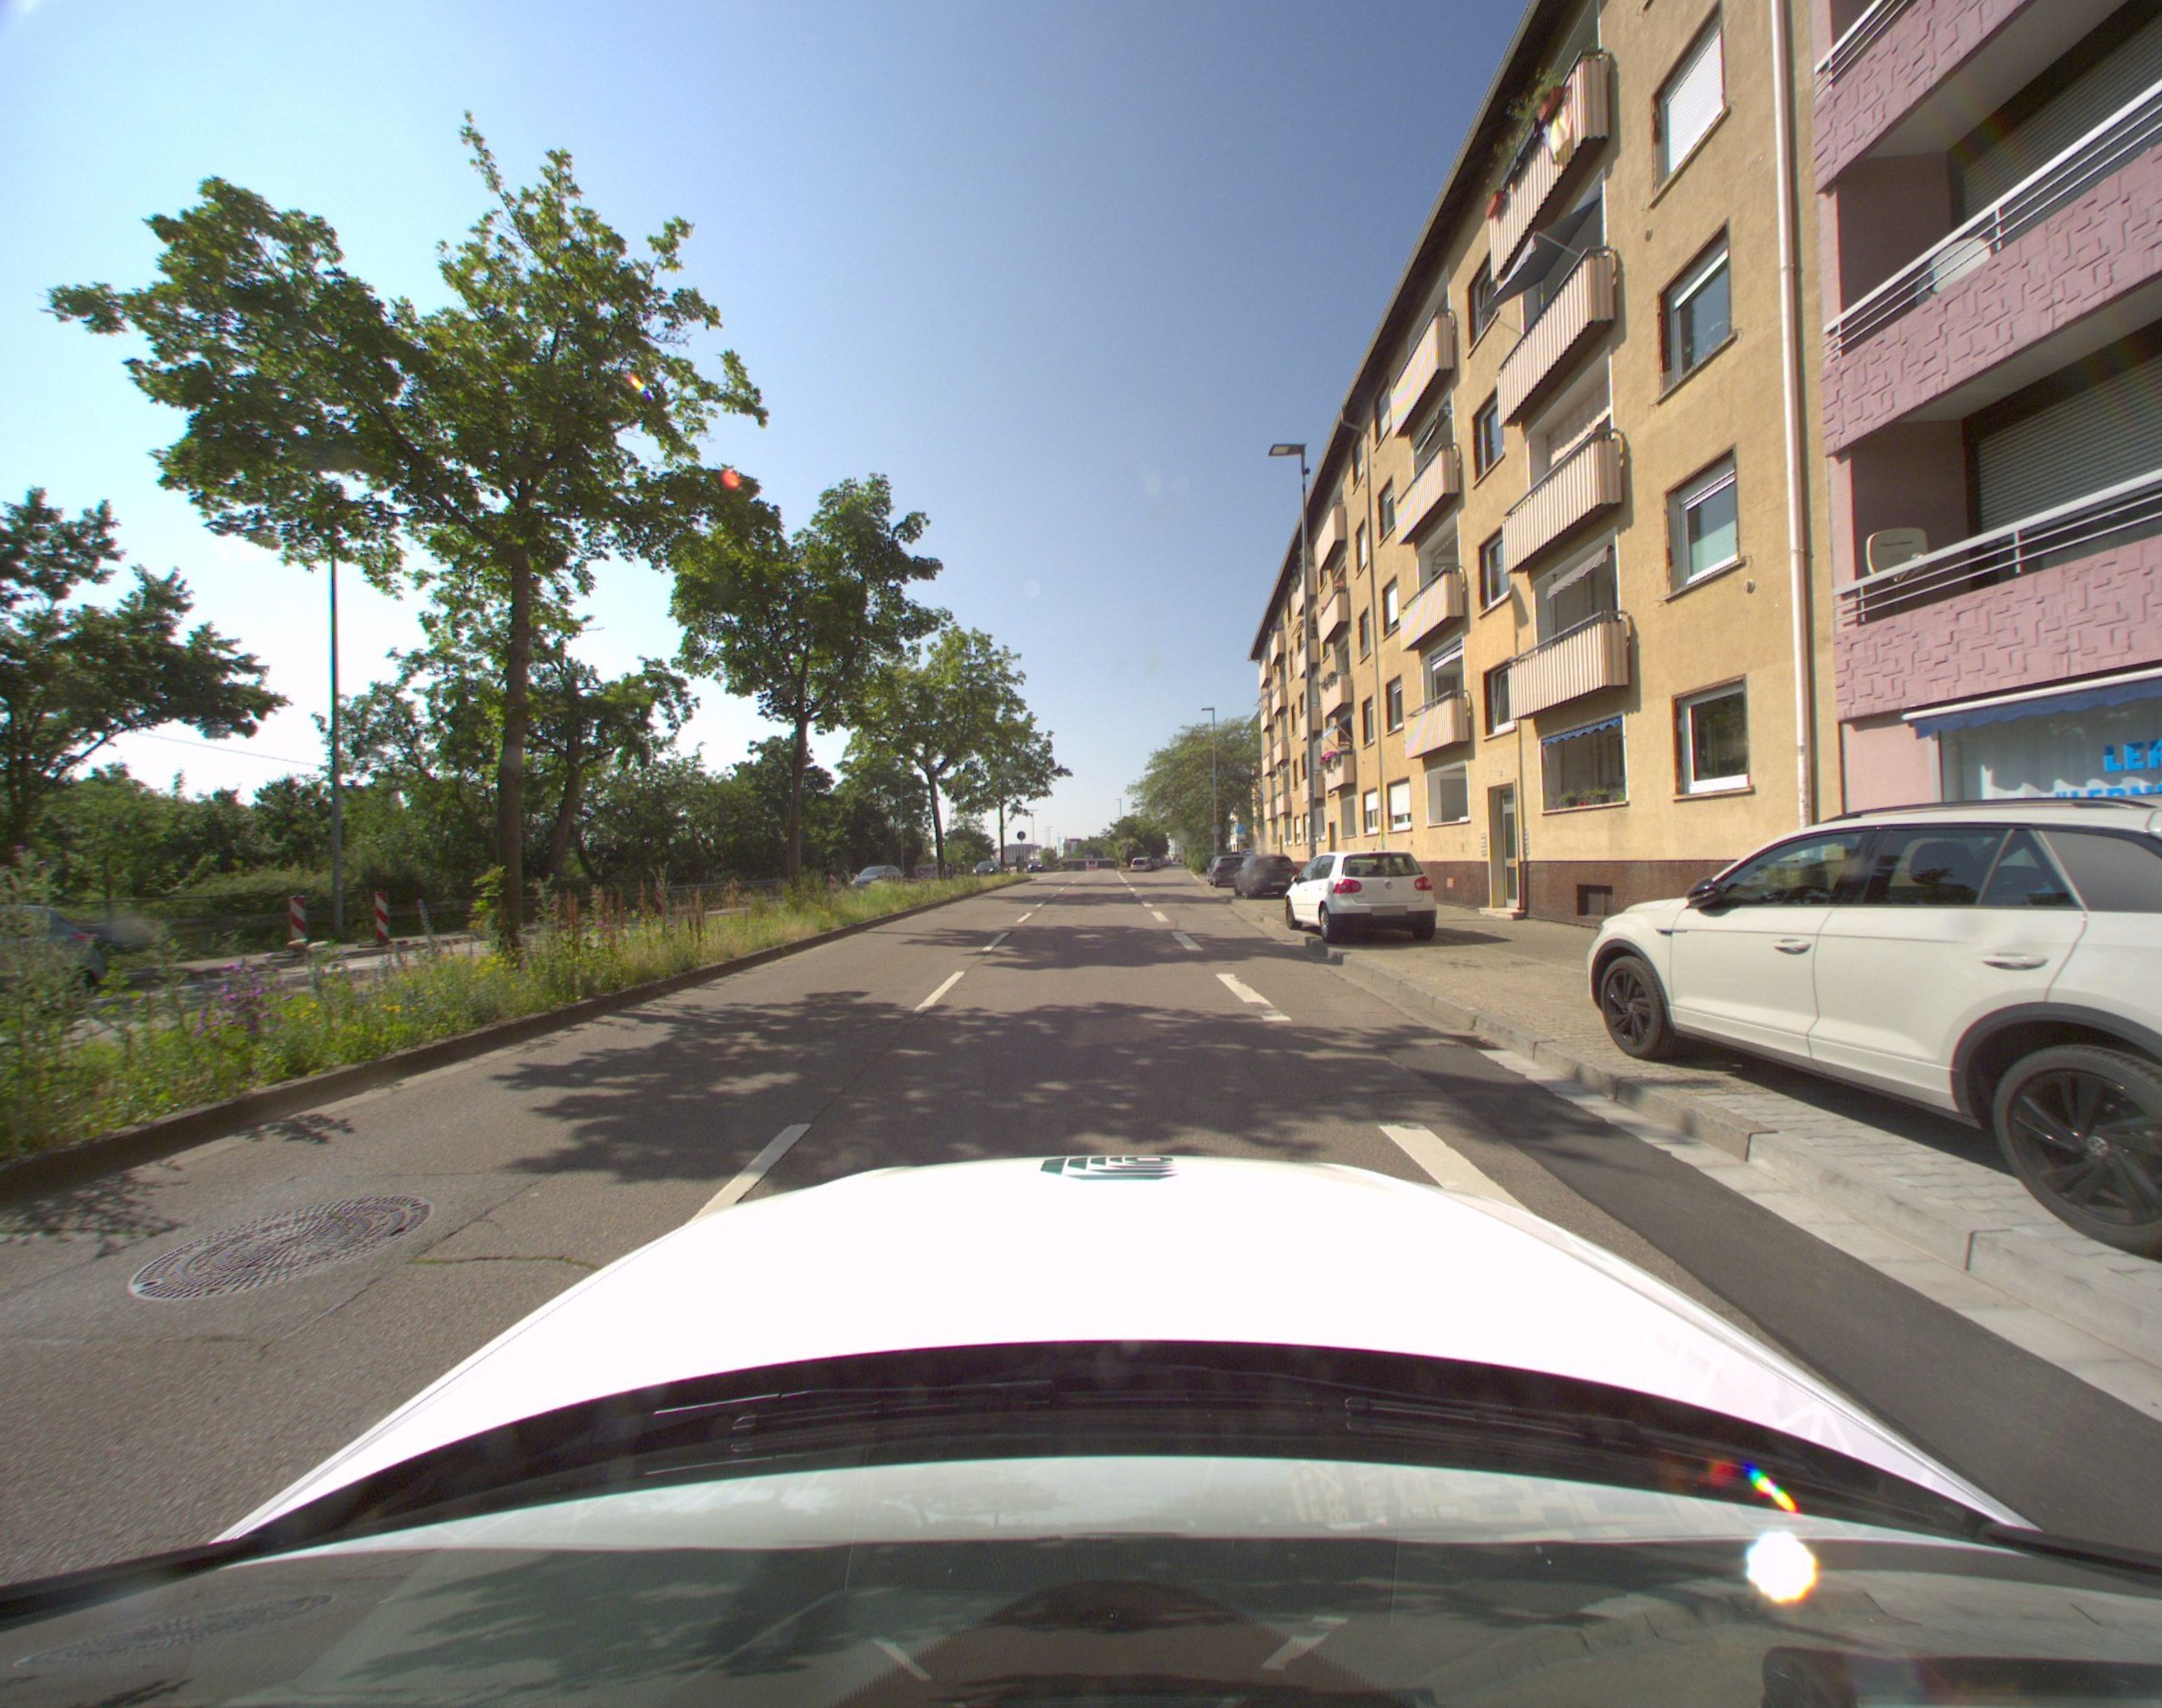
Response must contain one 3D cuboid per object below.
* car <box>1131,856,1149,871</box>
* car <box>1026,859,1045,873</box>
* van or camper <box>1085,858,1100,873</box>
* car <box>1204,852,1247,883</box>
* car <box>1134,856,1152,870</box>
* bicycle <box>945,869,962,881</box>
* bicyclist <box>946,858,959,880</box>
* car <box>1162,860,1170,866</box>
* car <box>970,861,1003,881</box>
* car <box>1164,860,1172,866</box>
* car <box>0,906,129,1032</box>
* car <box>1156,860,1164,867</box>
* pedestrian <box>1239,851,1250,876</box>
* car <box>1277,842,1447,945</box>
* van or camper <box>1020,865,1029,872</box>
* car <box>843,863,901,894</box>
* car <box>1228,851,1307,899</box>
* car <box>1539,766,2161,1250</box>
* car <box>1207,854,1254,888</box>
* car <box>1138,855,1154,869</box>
[{"bbox_3d":[6.197,0.988,85.497,1.611,1.505,3.468,-2,0,7],"label":"car"},{"bbox_3d":[-6.113,1.621,110.172,1.985,1.734,4.733,-2,-1,3],"label":"car"},{"bbox_3d":[2.278,2.283,158.483,2.285,2.789,5.580,-1,-1,6],"label":"van or camper"},{"bbox_3d":[7.740,0.685,43.789,1.696,1.514,4.094,-2,0,2],"label":"car"},{"bbox_3d":[6.870,0.993,90.184,1.712,1.505,4.140,-2,0,7],"label":"car"},{"bbox_3d":[-10.910,1.796,69.745,0.688,0.905,2.350,-2,0,12],"label":"bicycle"},{"bbox_3d":[-10.975,1.245,69.516,0.692,1.832,1.020,-2,-1,12],"label":"bicyclist"},{"bbox_3d":[23.215,2.538,222.794,1.983,1.657,4.007,-2,-1,6],"label":"car"},{"bbox_3d":[-7.236,1.284,62.688,1.756,1.474,4.088,-2,0,3],"label":"car"},{"bbox_3d":[24.865,2.479,232.492,1.983,1.657,4.007,-2,-1,6],"label":"car"},{"bbox_3d":[-13.625,1.428,8.954,1.640,1.416,3.968,-2,0,-1],"label":"car"},{"bbox_3d":[16.498,1.950,170.117,1.655,1.509,4.016,1,0,7],"label":"car"},{"bbox_3d":[10.960,0.651,54.644,0.652,1.609,0.825,-2,-1,7],"label":"pedestrian"},{"bbox_3d":[4.811,0.606,14.555,1.749,1.506,4.131,-2,0,3],"label":"car"},{"bbox_3d":[-12.244,3.151,176.470,1.462,1.350,4.631,-2,-1,1],"label":"van or camper"},{"bbox_3d":[-11.238,1.303,44.036,1.789,1.530,4.005,-2,-1,5],"label":"car"},{"bbox_3d":[6.244,0.667,27.740,1.793,1.438,4.593,-2,0,3],"label":"car"},{"bbox_3d":[4.372,0.469,4.173,1.729,1.541,4.357,-2,-1,3],"label":"car"},{"bbox_3d":[7.035,0.772,38.721,1.703,1.462,4.260,-2,0,4],"label":"car"},{"bbox_3d":[7.635,0.961,95.629,1.763,1.579,4.191,-2,0,4],"label":"car"}]
